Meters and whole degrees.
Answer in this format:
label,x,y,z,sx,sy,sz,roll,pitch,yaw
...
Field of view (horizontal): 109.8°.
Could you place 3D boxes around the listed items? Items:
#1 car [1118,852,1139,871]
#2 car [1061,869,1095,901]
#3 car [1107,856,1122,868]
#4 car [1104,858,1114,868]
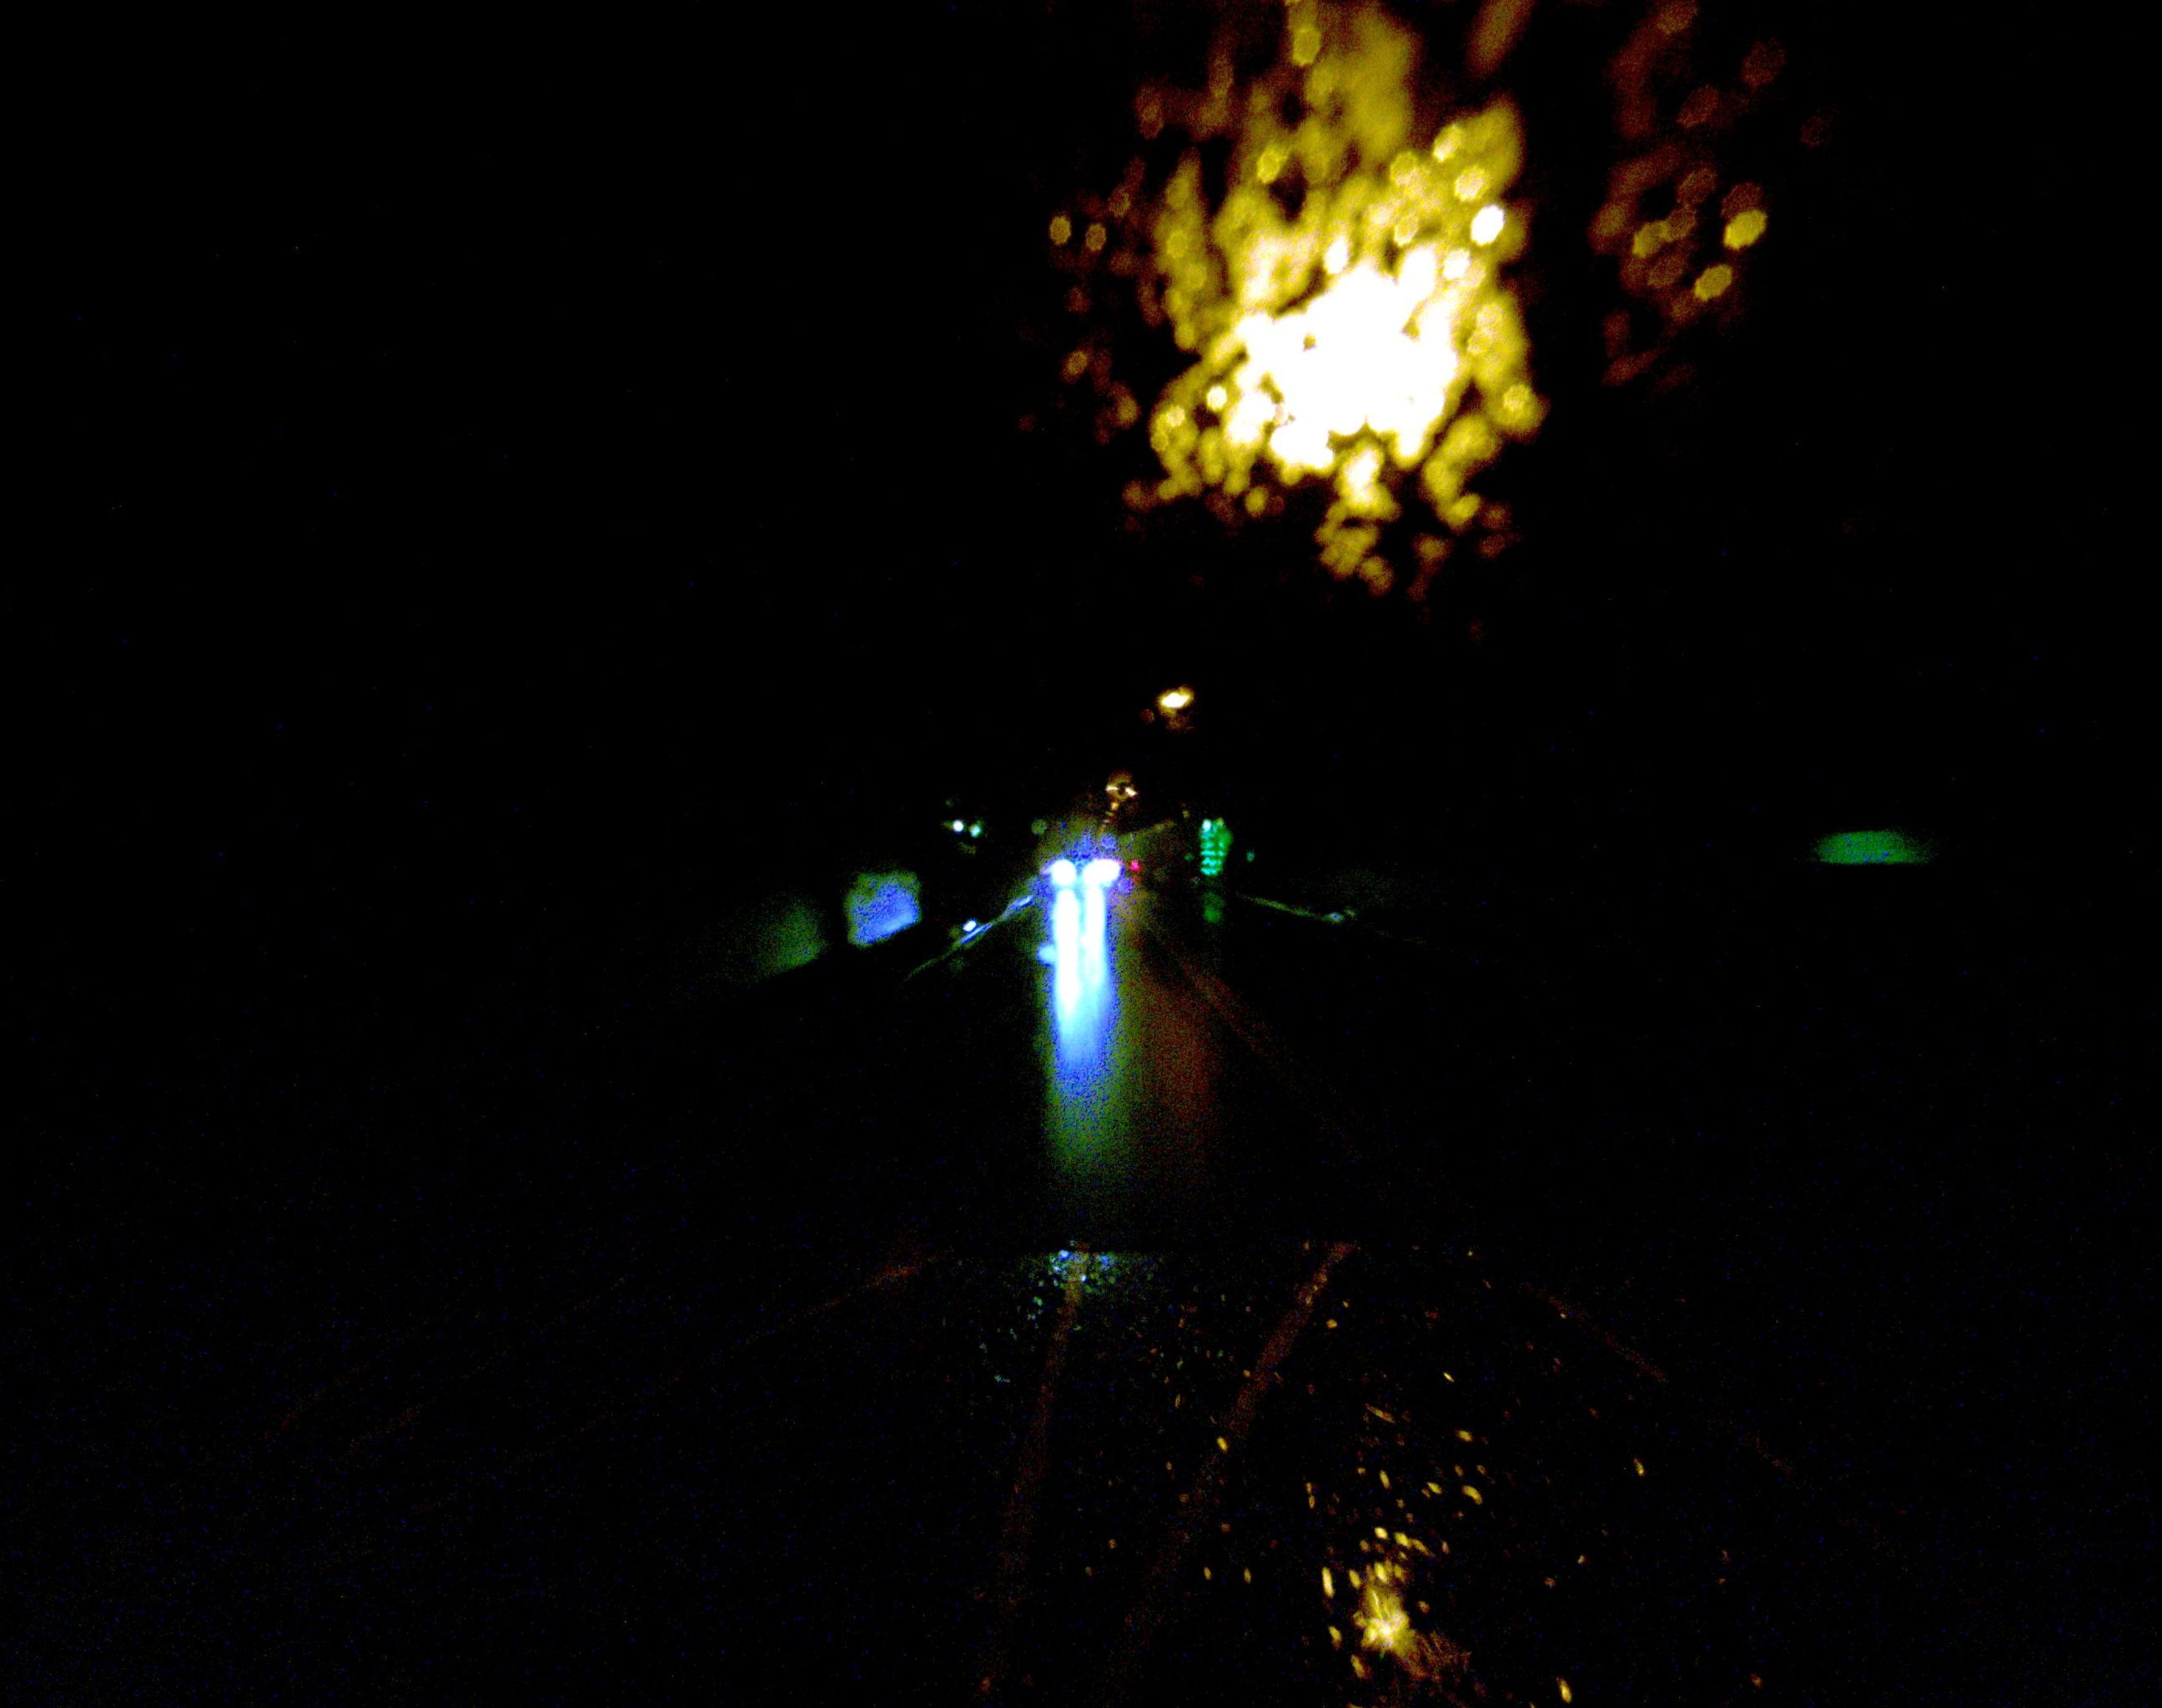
label,x,y,z,sx,sy,sz,roll,pitch,yaw
car,3.922,0.661,63.148,1.524,1.540,4.055,0,-1,1
car,-0.117,1.546,38.640,1.627,1.487,3.585,0,0,1
car,4.159,0.982,95.563,1.753,1.471,4.476,0,0,1
car,4.778,1.495,131.904,1.701,1.666,4.127,0,0,1
